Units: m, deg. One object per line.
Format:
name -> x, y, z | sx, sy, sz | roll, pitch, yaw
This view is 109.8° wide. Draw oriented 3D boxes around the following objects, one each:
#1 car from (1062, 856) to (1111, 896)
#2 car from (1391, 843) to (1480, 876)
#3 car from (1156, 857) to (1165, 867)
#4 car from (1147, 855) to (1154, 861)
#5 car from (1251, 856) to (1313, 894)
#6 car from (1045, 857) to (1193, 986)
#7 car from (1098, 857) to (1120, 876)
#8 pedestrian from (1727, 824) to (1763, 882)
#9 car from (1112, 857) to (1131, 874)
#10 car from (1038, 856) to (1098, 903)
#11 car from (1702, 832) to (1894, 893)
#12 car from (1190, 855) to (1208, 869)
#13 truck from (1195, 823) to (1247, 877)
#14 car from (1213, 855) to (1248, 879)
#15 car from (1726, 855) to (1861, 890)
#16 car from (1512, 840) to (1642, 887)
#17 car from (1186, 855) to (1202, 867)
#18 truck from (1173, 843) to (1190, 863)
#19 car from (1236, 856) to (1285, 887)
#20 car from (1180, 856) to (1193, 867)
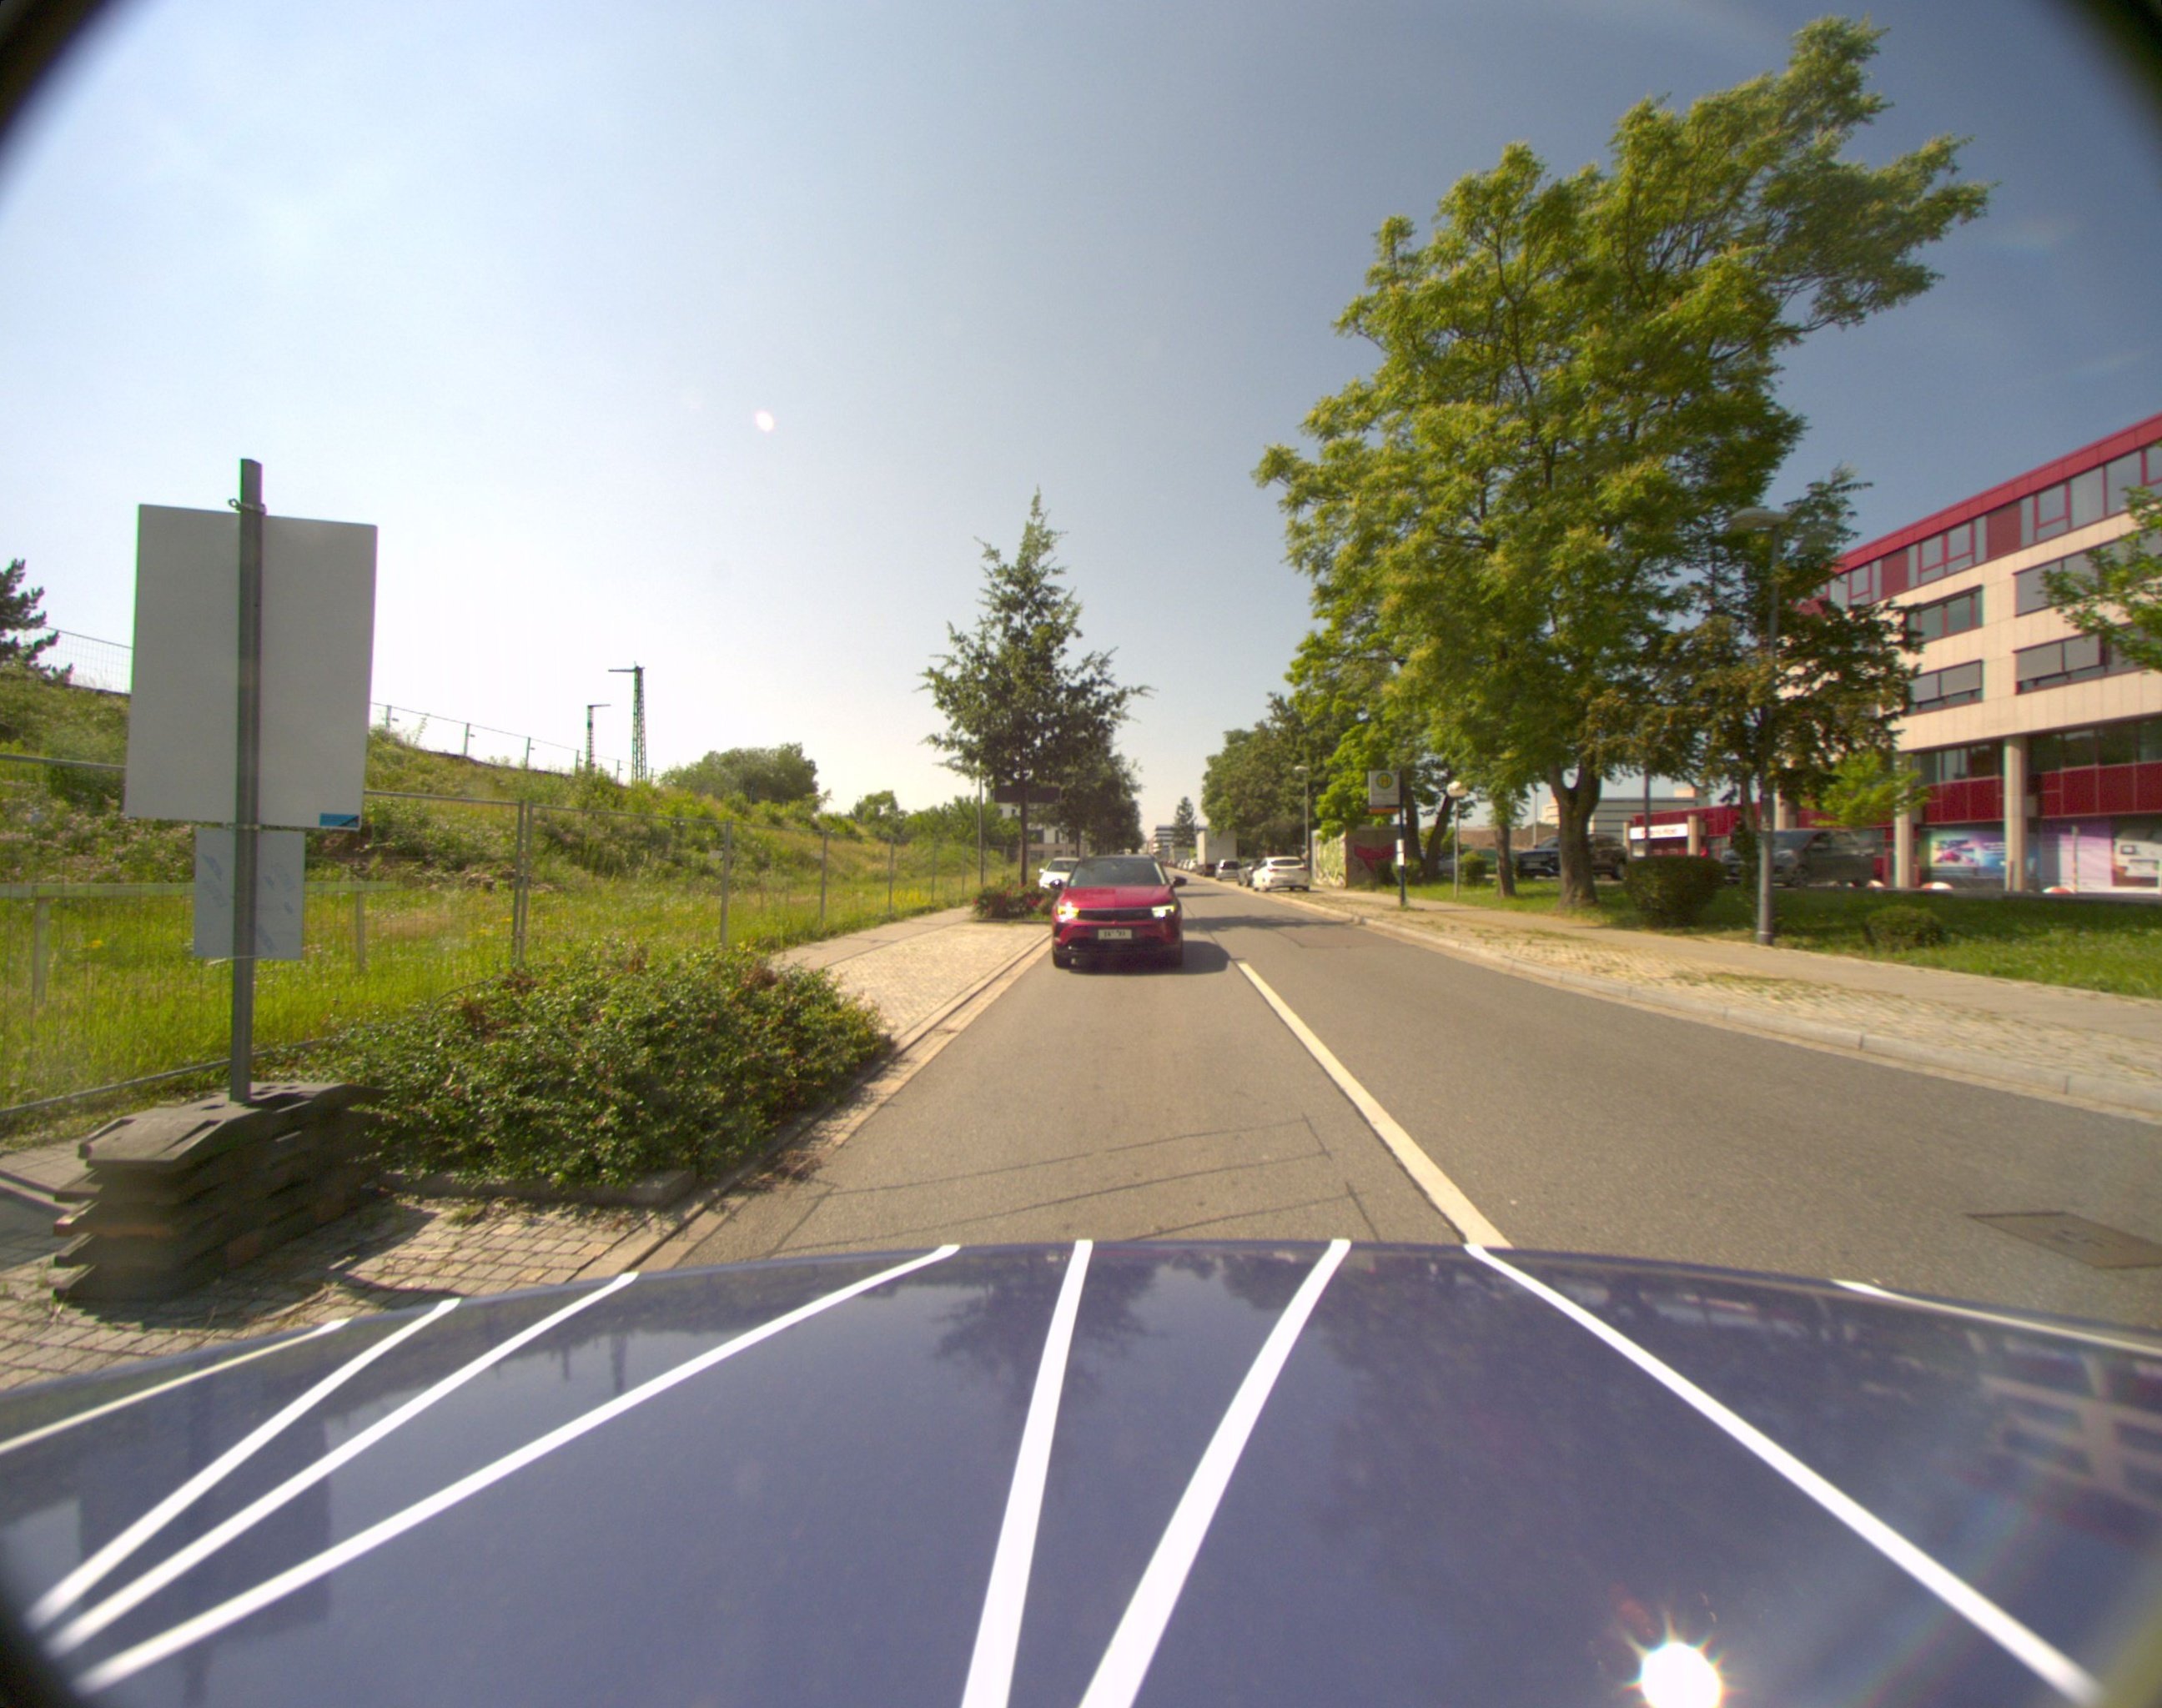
car -> 0.305, 0.961, 33.901 | 1.846, 1.606, 4.002 | 2, -1, 5
car -> 20.048, 0.333, 42.917 | 4.723, 1.793, 1.996 | 0, -1, -26
car -> 16.003, 1.597, 152.290 | 1.790, 1.783, 4.002 | 0, 0, 6
car -> 18.323, 1.058, 200.310 | 1.764, 1.783, 4.003 | -1, 0, 7
car -> 8.421, 0.837, 32.208 | 1.765, 1.484, 4.001 | -2, 0, 4
car -> 0.576, 0.862, 11.580 | 1.821, 1.594, 4.308 | 0, 0, 3
car -> 2.565, 1.153, 69.148 | 1.846, 1.606, 4.002 | 1, -1, 5
pedestrian -> 17.927, -0.016, 20.522 | 0.563, 1.518, 0.758 | 0, 0, 26
car -> 4.189, 1.181, 78.018 | 1.846, 1.606, 4.002 | 1, -1, 5
car -> -0.440, 0.959, 29.590 | 1.846, 1.606, 4.372 | 2, 0, 5
car -> 17.886, 0.190, 18.991 | 3.992, 1.330, 1.716 | -2, 0, -17
car -> 13.683, 0.962, 88.473 | 1.814, 1.506, 4.002 | -2, 0, 6
truck -> 11.644, -0.283, 64.002 | 3.352, 4.119, 9.282 | -2, -1, 5
car -> 10.039, 0.852, 51.236 | 1.814, 1.506, 4.001 | -2, 0, 4
car -> 31.214, 0.786, 33.373 | 1.726, 1.443, 4.228 | 0, -1, -43
car -> 18.058, 0.319, 27.611 | 4.823, 1.484, 1.849 | -2, 0, -28
car -> 14.760, 0.962, 99.477 | 1.814, 1.506, 4.002 | -2, 0, 6
truck -> 16.945, -0.106, 127.571 | 2.700, 3.300, 7.347 | 0, 0, 8
car -> 9.256, 0.877, 39.492 | 1.814, 1.506, 4.001 | -2, 0, 4
car -> 15.480, 1.077, 111.819 | 1.814, 1.506, 4.002 | -2, 0, 6
